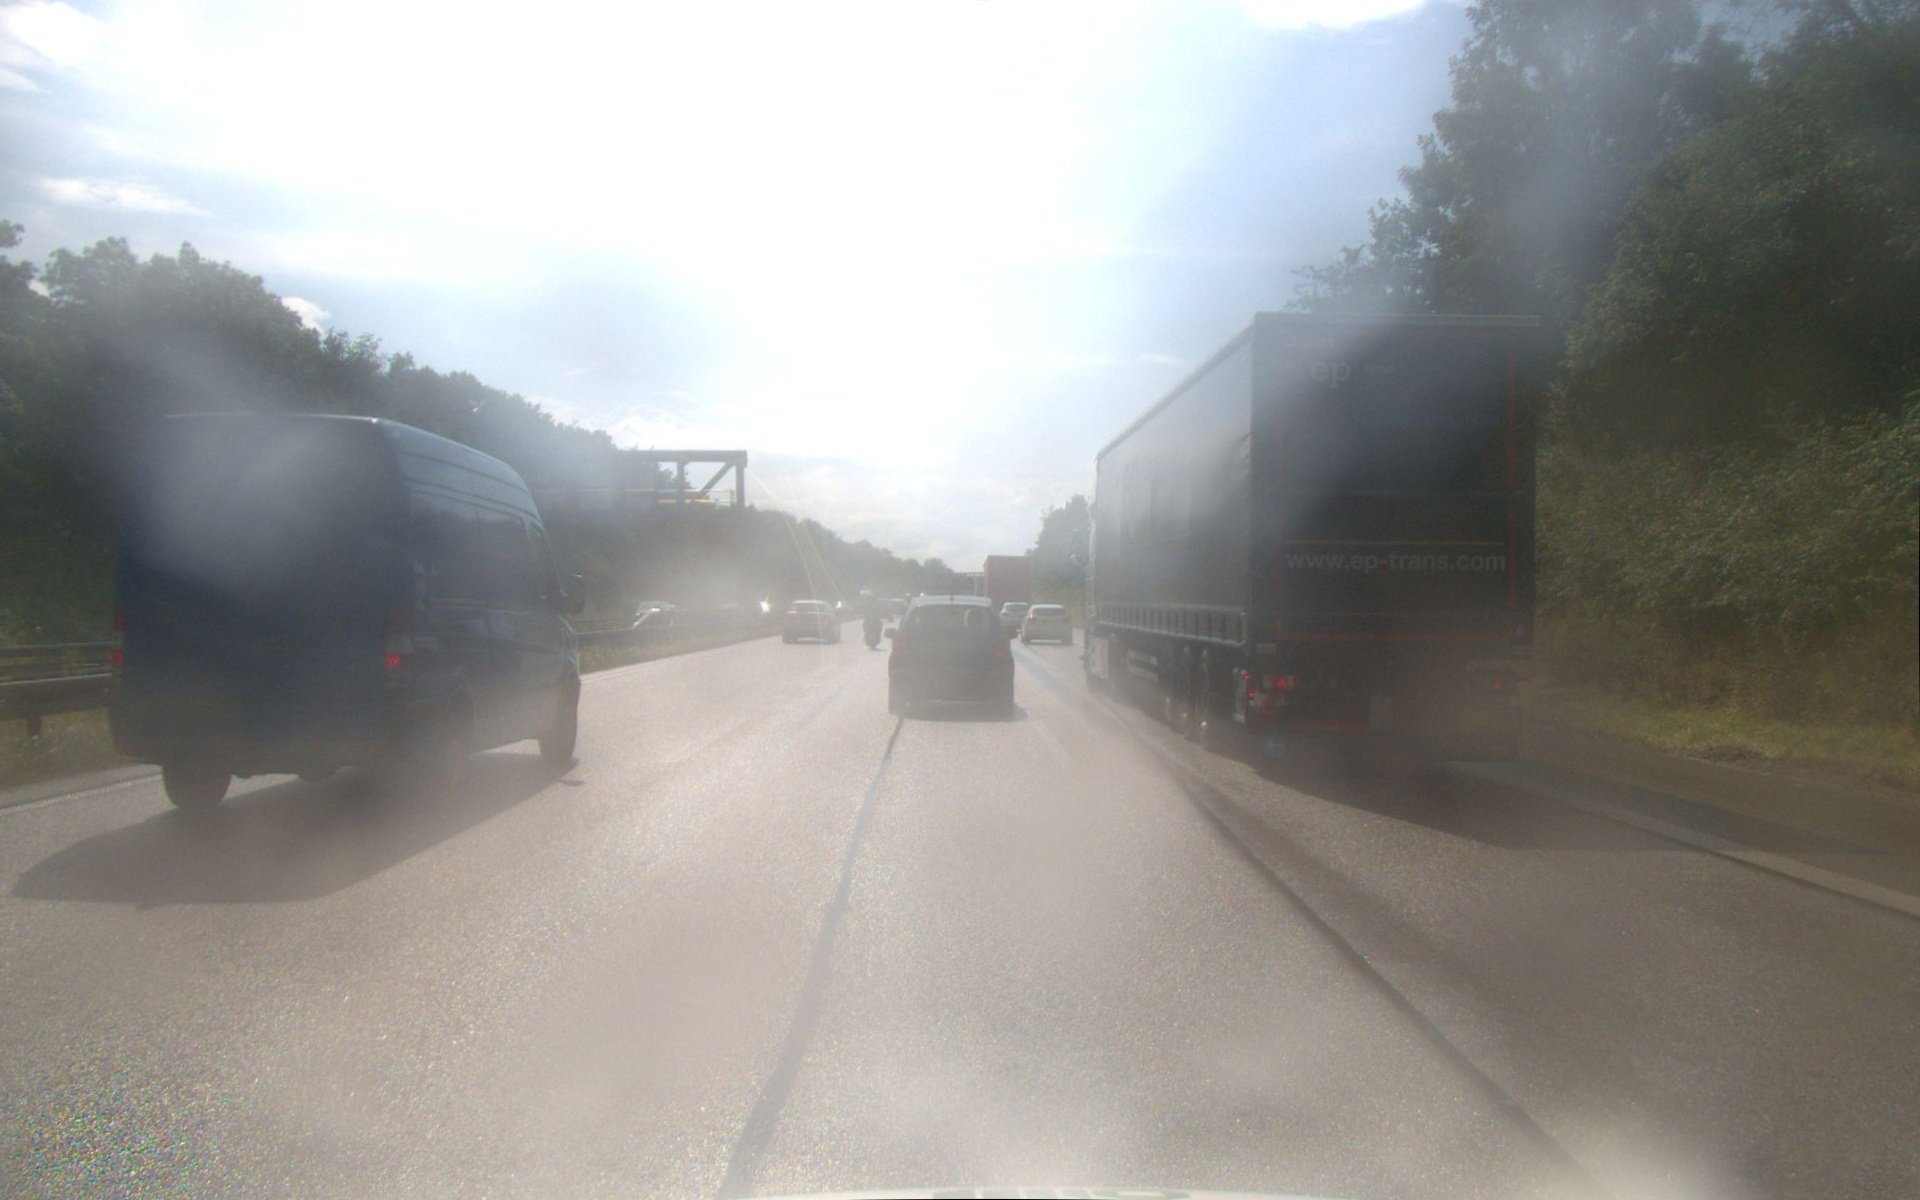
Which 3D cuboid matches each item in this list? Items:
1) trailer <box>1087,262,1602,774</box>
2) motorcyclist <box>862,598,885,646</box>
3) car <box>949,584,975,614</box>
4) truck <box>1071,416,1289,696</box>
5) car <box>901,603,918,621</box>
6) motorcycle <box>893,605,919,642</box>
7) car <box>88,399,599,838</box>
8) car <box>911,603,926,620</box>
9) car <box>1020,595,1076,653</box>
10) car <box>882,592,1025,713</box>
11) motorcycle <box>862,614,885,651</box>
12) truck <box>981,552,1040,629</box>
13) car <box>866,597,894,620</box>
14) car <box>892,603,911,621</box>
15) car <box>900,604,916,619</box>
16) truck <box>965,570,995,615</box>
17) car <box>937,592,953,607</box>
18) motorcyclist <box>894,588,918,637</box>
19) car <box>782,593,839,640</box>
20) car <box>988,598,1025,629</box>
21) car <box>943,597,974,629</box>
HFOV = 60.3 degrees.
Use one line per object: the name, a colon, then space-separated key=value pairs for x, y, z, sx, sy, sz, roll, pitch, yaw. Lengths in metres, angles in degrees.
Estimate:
trailer: x=3.867 y=-0.690 z=21.311 sx=3.026 sy=4.388 sz=14.100 roll=1 pitch=0 yaw=-1
motorcyclist: x=-2.708 y=0.682 z=51.651 sx=0.657 sy=1.467 sz=1.019 roll=1 pitch=-1 yaw=-5
car: x=0.104 y=-0.081 z=110.405 sx=1.641 sy=1.970 sz=3.772 roll=1 pitch=0 yaw=-1
truck: x=3.702 y=-0.676 z=29.267 sx=2.990 sy=4.401 sz=5.885 roll=1 pitch=-1 yaw=-1
car: x=-5.967 y=1.458 z=196.511 sx=1.953 sy=2.049 sz=3.999 roll=1 pitch=-1 yaw=-1
motorcycle: x=-1.977 y=0.852 z=60.332 sx=0.803 sy=1.285 sz=2.115 roll=1 pitch=0 yaw=-5
car: x=-4.437 y=0.123 z=13.112 sx=1.975 sy=2.695 sz=5.775 roll=1 pitch=0 yaw=-1
car: x=-5.362 y=1.486 z=212.999 sx=1.953 sy=2.049 sz=3.999 roll=1 pitch=-1 yaw=-1
car: x=3.223 y=0.886 z=61.392 sx=1.811 sy=2.049 sz=4.086 roll=1 pitch=-1 yaw=-1
car: x=-0.139 y=0.700 z=24.032 sx=1.876 sy=1.592 sz=4.312 roll=1 pitch=0 yaw=-1
motorcycle: x=-2.716 y=1.014 z=51.681 sx=0.662 sy=1.106 sz=1.980 roll=1 pitch=0 yaw=-4
truck: x=3.007 y=-0.545 z=101.126 sx=3.137 sy=4.481 sz=9.430 roll=1 pitch=0 yaw=-1
car: x=-5.764 y=0.596 z=119.556 sx=1.854 sy=1.656 sz=4.193 roll=1 pitch=0 yaw=-1
car: x=-5.252 y=1.095 z=149.669 sx=1.641 sy=1.625 sz=3.435 roll=1 pitch=0 yaw=-1
car: x=-5.540 y=1.242 z=175.600 sx=1.641 sy=1.516 sz=3.435 roll=1 pitch=0 yaw=-1
truck: x=2.124 y=-0.767 z=181.105 sx=2.823 sy=4.770 sz=12.655 roll=1 pitch=0 yaw=-1
car: x=-1.515 y=-0.074 z=170.976 sx=1.599 sy=1.516 sz=3.435 roll=1 pitch=0 yaw=-1
motorcyclist: x=-1.976 y=0.456 z=60.372 sx=0.805 sy=1.791 sz=1.389 roll=1 pitch=-1 yaw=-5
car: x=-5.279 y=0.570 z=58.888 sx=1.723 sy=1.622 sz=4.329 roll=1 pitch=0 yaw=-1
car: x=2.306 y=0.663 z=81.923 sx=1.641 sy=1.516 sz=3.435 roll=1 pitch=0 yaw=-1
car: x=-0.107 y=0.853 z=108.779 sx=1.953 sy=2.049 sz=3.999 roll=1 pitch=-1 yaw=-1
